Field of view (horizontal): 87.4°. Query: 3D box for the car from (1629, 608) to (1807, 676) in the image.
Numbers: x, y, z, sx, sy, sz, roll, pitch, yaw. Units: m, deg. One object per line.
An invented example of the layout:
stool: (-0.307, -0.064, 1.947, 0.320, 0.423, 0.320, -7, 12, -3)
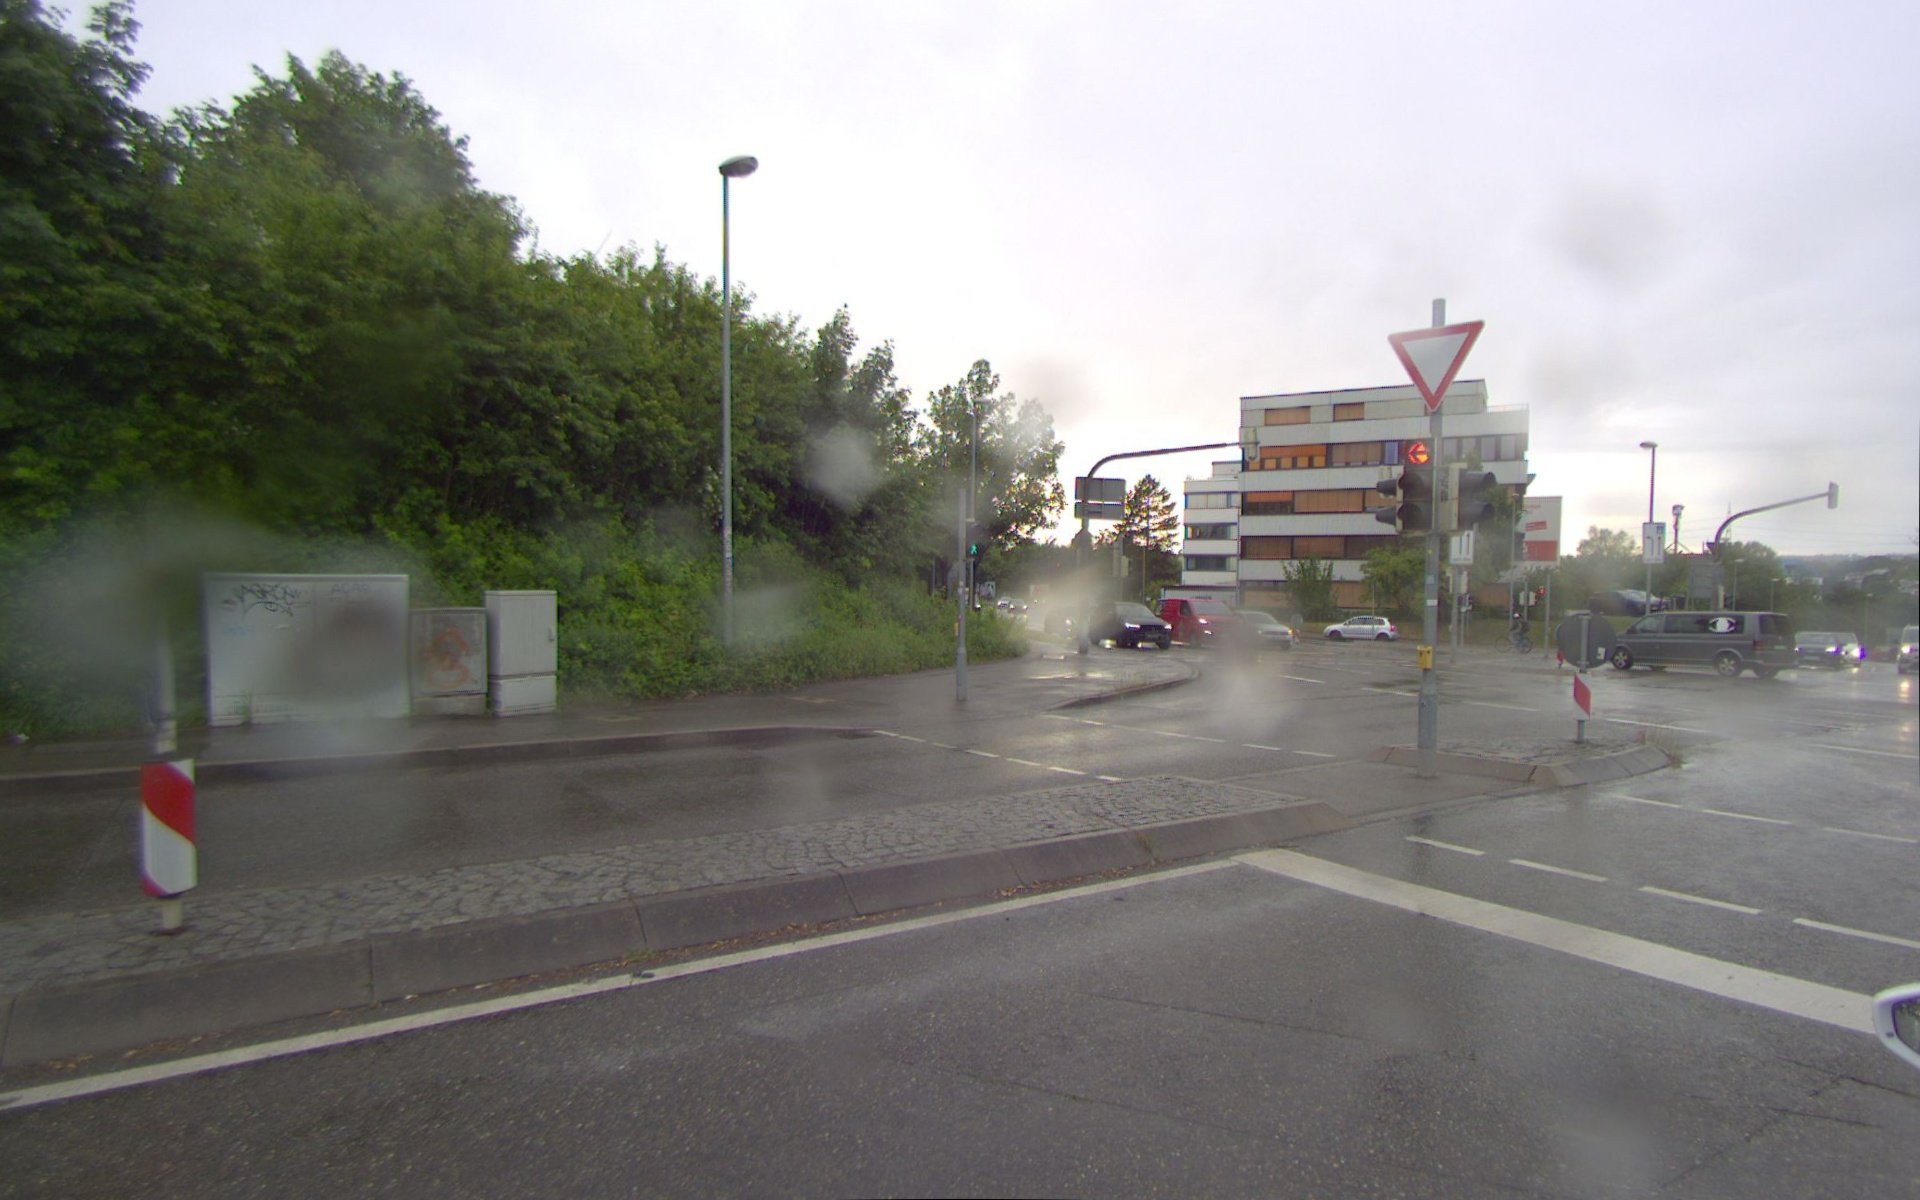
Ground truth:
car: (23.511, 1.242, 31.343, 1.970, 1.873, 3.981, 1, 1, -20)

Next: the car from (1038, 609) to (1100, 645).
car: (4.668, 1.159, 43.567, 1.652, 1.405, 3.452, 1, 1, -12)

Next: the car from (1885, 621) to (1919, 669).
car: (35.965, 1.666, 37.422, 3.973, 1.639, 1.974, 0, 1, -45)

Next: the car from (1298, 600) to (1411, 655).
car: (14.819, 0.998, 37.990, 1.966, 1.865, 4.143, 1, 1, -14)

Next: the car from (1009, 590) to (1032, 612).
car: (5.859, 0.101, 98.108, 1.960, 2.041, 5.013, 1, 1, 1)

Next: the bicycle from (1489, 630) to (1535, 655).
bicycle: (25.541, 1.968, 46.501, 0.604, 1.066, 1.762, 1, 1, -35)

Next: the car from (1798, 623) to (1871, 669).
car: (40.163, 2.064, 46.113, 3.969, 1.920, 1.976, 1, 1, -41)

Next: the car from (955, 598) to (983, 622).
car: (0.679, 0.751, 78.063, 1.961, 1.725, 4.609, 1, 1, -2)

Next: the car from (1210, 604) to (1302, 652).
car: (11.783, 1.086, 40.255, 1.964, 1.706, 3.992, 1, 1, -10)

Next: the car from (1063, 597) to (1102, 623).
car: (10.059, 0.794, 82.817, 1.963, 2.041, 5.005, 1, 1, -8)

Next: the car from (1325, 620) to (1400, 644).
car: (21.738, 1.723, 54.282, 3.456, 1.120, 1.815, 2, 1, 34)

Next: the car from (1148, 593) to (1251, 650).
car: (9.163, 0.767, 38.875, 1.966, 2.040, 4.775, 1, 0, -13)

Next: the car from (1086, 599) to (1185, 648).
car: (6.430, 0.837, 37.375, 1.999, 1.701, 4.621, 1, -1, -12)

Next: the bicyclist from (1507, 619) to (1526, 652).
bicyclist: (25.659, 1.638, 46.339, 0.597, 1.465, 0.539, 0, 1, -36)

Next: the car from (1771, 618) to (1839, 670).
car: (34.656, 1.765, 41.160, 1.971, 1.920, 3.978, 2, 0, 42)

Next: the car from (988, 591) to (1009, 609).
car: (4.661, -0.008, 122.686, 1.962, 2.041, 4.548, 1, 1, -6)
